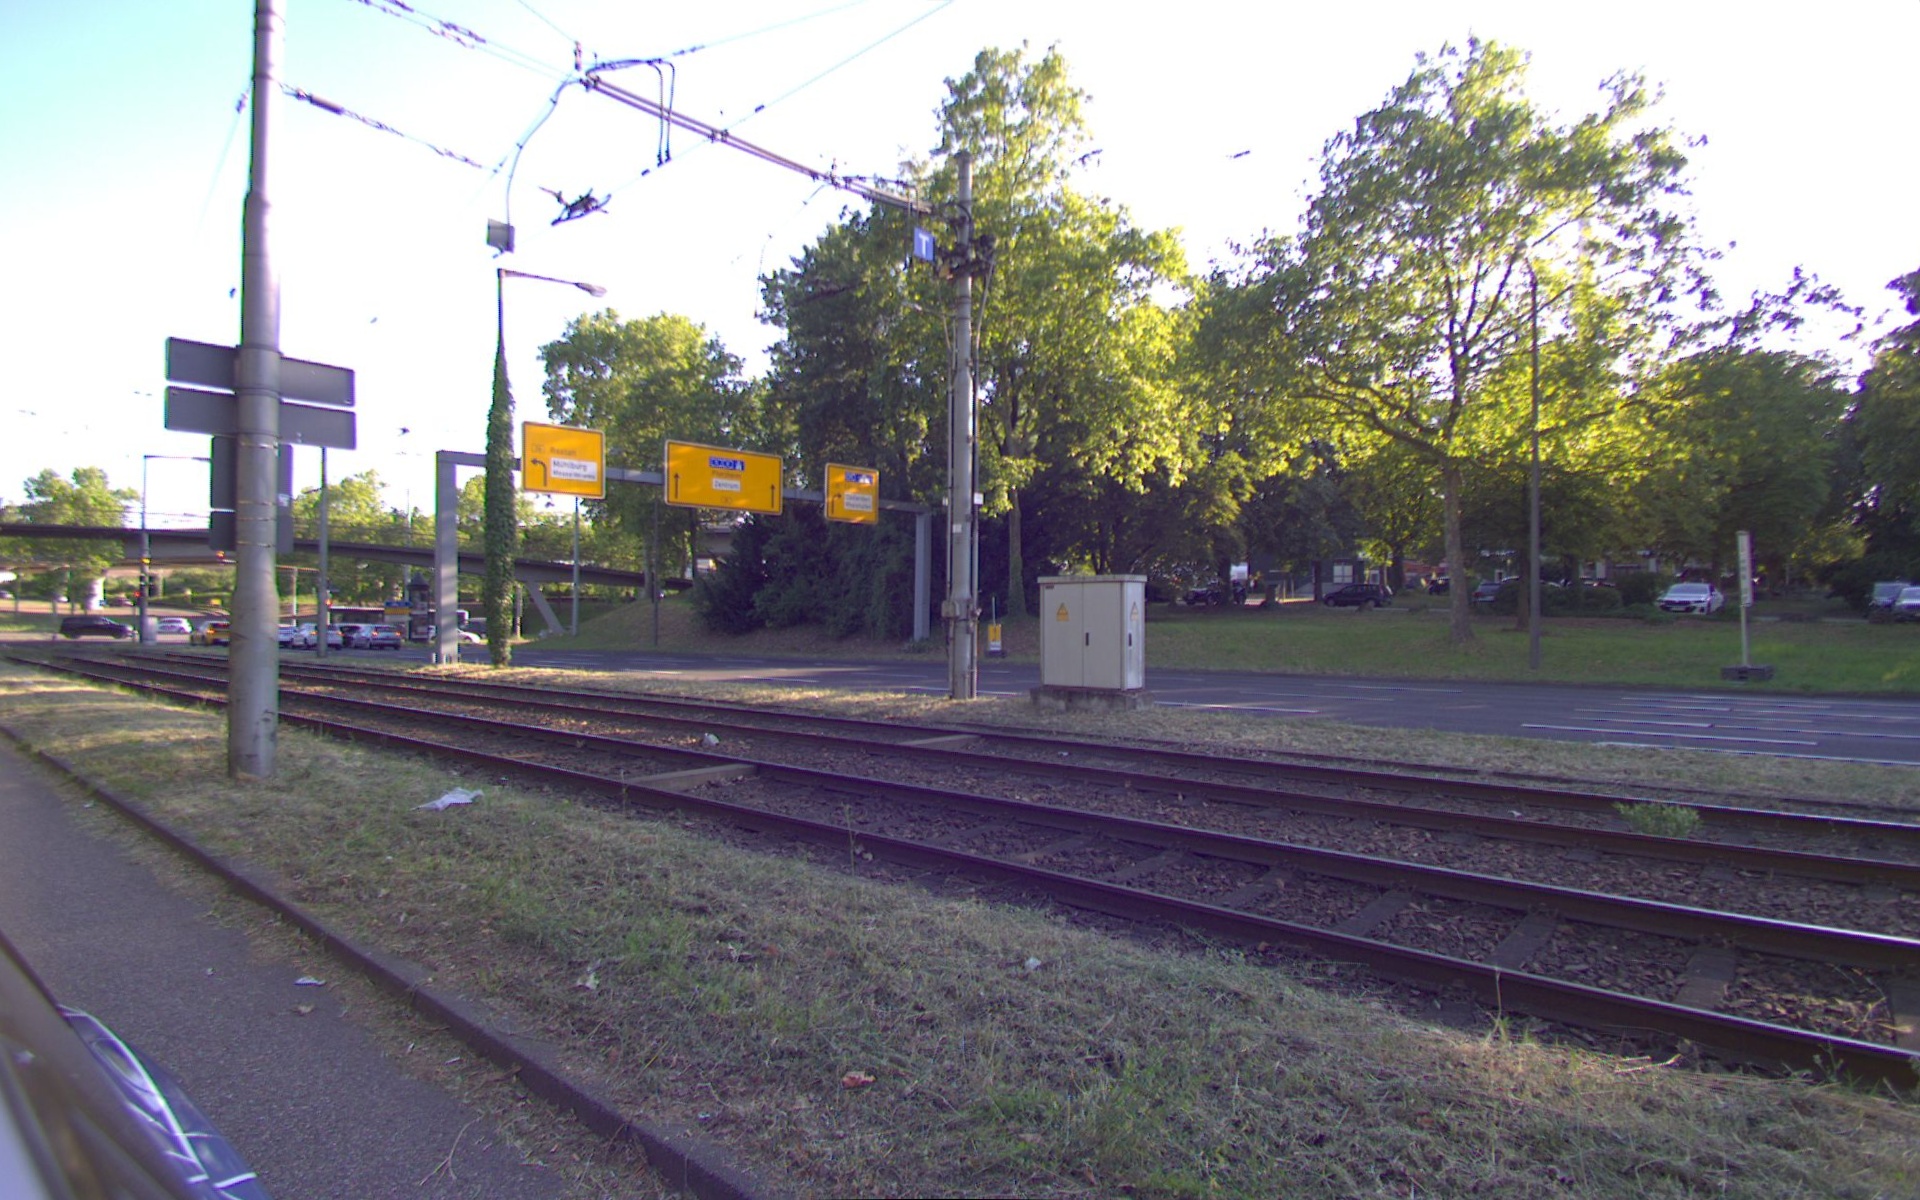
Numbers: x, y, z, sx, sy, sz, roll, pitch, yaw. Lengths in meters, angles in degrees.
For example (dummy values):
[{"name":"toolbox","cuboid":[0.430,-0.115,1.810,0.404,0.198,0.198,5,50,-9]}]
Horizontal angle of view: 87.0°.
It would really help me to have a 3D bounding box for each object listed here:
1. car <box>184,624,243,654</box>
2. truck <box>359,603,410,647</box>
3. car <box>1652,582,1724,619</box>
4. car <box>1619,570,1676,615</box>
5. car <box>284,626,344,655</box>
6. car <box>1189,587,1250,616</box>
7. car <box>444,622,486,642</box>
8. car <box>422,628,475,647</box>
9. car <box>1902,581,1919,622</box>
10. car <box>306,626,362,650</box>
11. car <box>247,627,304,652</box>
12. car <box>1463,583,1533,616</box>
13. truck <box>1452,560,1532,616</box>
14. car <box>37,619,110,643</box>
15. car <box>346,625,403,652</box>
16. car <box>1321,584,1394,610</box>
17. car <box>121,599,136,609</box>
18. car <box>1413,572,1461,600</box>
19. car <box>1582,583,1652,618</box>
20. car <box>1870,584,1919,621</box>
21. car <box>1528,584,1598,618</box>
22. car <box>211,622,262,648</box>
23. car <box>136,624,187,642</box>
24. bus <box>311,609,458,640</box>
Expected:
[{"name":"car","cuboid":[-40.803,2.125,55.265,3.997,1.556,1.744,-1,-1,40]},{"name":"truck","cuboid":[-40.302,1.741,70.777,2.248,2.901,6.895,0,-1,-37]},{"name":"car","cuboid":[31.562,0.003,43.851,1.942,1.521,4.039,0,0,44]},{"name":"car","cuboid":[36.886,-0.401,54.246,2.161,2.320,4.348,0,0,40]},{"name":"car","cuboid":[-35.740,2.206,55.965,3.997,1.556,1.744,-1,-1,40]},{"name":"car","cuboid":[15.396,0.061,59.964,1.791,1.657,3.942,-1,-1,44]},{"name":"car","cuboid":[-50.851,3.298,103.985,3.748,1.872,1.682,-1,0,-30]},{"name":"car","cuboid":[-43.299,3.155,85.762,3.960,1.504,1.629,-1,0,-27]},{"name":"car","cuboid":[37.580,0.036,38.899,1.942,1.521,4.039,0,0,44]},{"name":"car","cuboid":[-39.762,2.413,64.238,4.224,1.435,1.844,-1,-1,40]},{"name":"car","cuboid":[-40.574,2.322,59.964,4.226,1.435,1.893,-1,-1,42]},{"name":"car","cuboid":[26.170,-0.044,49.192,1.942,1.521,4.039,0,0,44]},{"name":"truck","cuboid":[31.744,-0.690,60.291,2.503,3.191,6.137,0,0,45]},{"name":"car","cuboid":[-66.326,2.296,75.821,3.934,1.668,1.789,-1,0,-36]},{"name":"car","cuboid":[-34.957,2.288,60.426,3.998,1.556,1.789,-1,-1,41]},{"name":"car","cuboid":[23.729,-0.201,60.424,3.726,1.474,1.651,0,1,44]},{"name":"car","cuboid":[-142.783,0.739,173.775,1.806,1.630,3.986,-1,0,-43]},{"name":"car","cuboid":[33.557,-0.997,71.067,2.290,1.864,5.214,-1,1,34]},{"name":"car","cuboid":[30.035,0.006,46.227,1.942,1.521,4.039,0,0,44]},{"name":"car","cuboid":[43.969,0.094,47.232,3.998,1.628,1.864,-1,0,-43]},{"name":"car","cuboid":[28.426,0.015,47.664,1.942,1.521,4.039,0,0,44]},{"name":"car","cuboid":[-45.837,2.184,64.053,4.228,1.561,1.892,-1,-2,44]},{"name":"car","cuboid":[-75.275,3.078,95.472,3.593,1.523,1.668,-1,0,-30]},{"name":"bus","cuboid":[-58.940,2.495,104.141,12.965,2.884,2.425,-1,0,-26]}]
